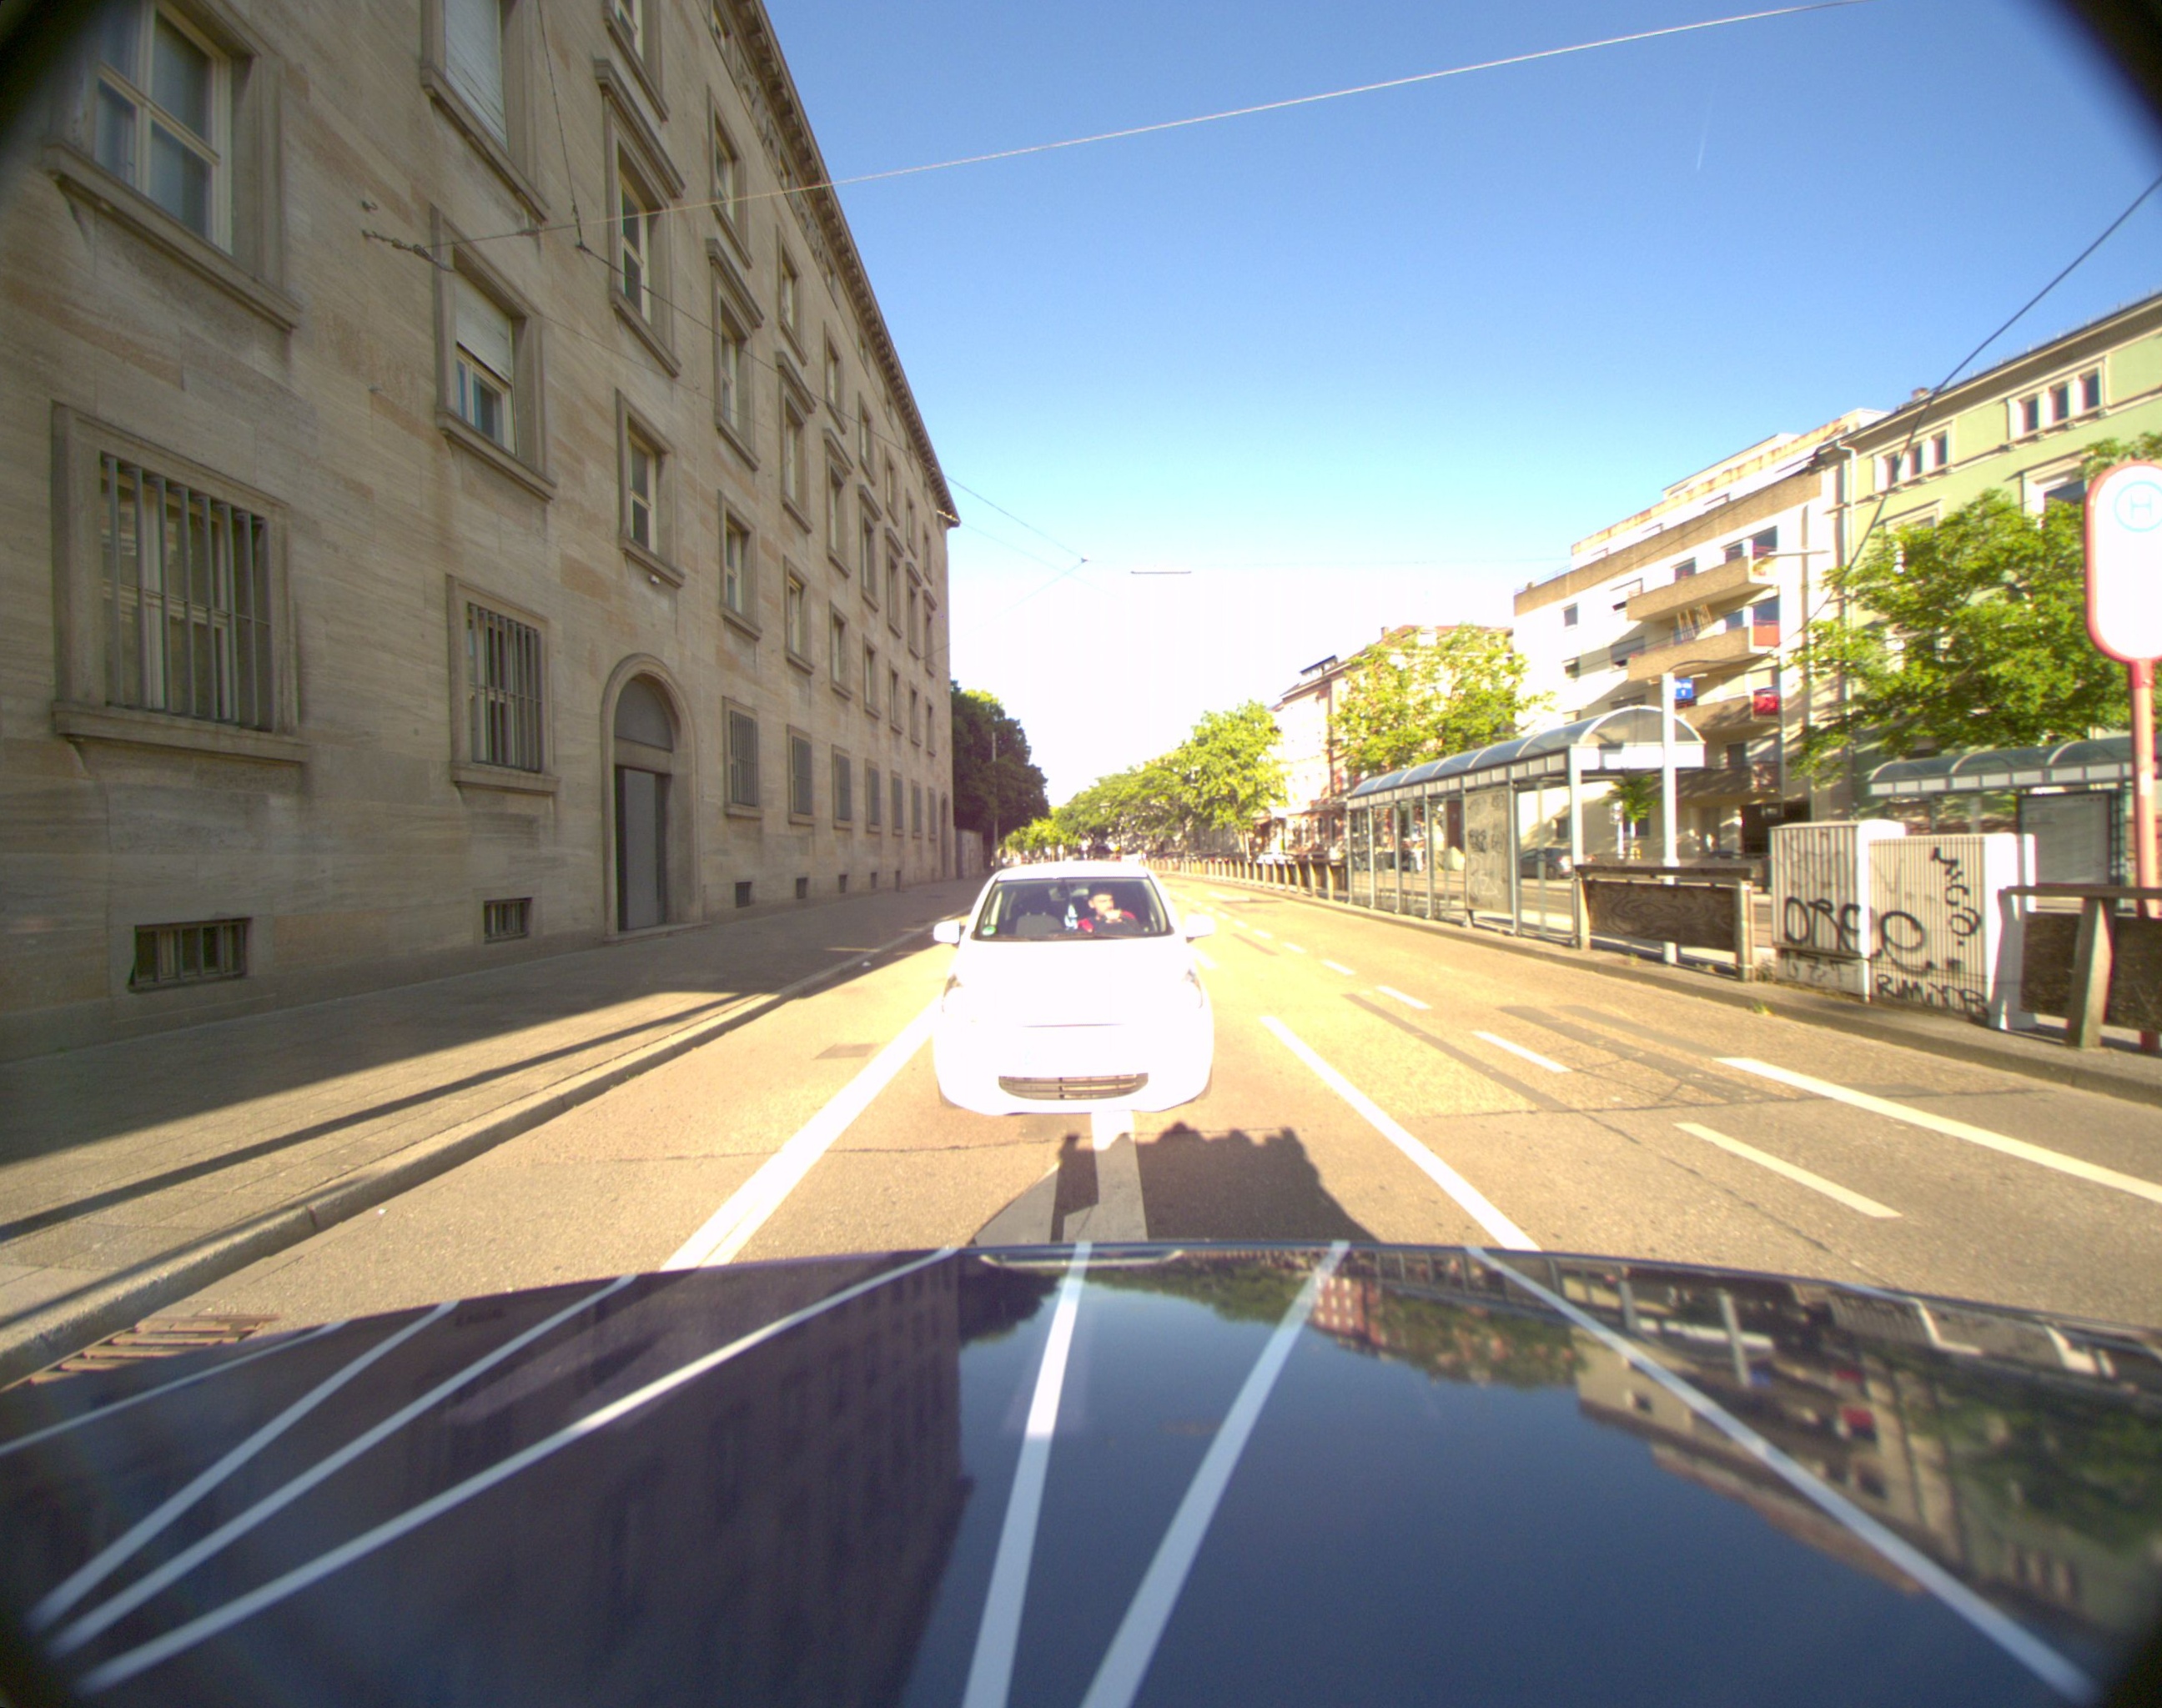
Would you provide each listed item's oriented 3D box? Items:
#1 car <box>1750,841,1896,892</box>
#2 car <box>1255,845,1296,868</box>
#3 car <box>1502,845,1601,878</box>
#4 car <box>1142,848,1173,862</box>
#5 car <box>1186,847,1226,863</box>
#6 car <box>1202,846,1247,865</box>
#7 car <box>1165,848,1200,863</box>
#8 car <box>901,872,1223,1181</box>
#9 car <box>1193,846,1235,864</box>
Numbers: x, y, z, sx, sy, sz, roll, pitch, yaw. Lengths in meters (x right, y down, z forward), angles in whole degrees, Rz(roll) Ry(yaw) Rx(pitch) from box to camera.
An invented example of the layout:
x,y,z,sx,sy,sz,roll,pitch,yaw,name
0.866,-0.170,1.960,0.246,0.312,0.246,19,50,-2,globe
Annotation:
x,y,z,sx,sy,sz,roll,pitch,yaw,name
23.943,0.369,24.548,3.796,1.526,1.772,-1,0,-17,car
16.317,0.162,63.675,1.994,1.713,4.007,0,2,34,car
20.855,0.316,33.832,1.615,1.387,3.516,-1,0,-19,car
9.579,0.129,95.714,3.864,1.583,2.001,-1,0,4,car
13.172,0.084,80.528,3.996,1.674,2.000,-1,0,4,car
13.650,0.127,72.591,3.996,1.674,2.000,-1,0,4,car
11.451,0.143,86.088,3.864,1.583,2.001,-1,0,5,car
-0.072,0.923,5.693,1.612,1.450,3.667,-1,0,1,car
13.364,0.112,76.725,3.996,1.674,2.000,-1,0,4,car
